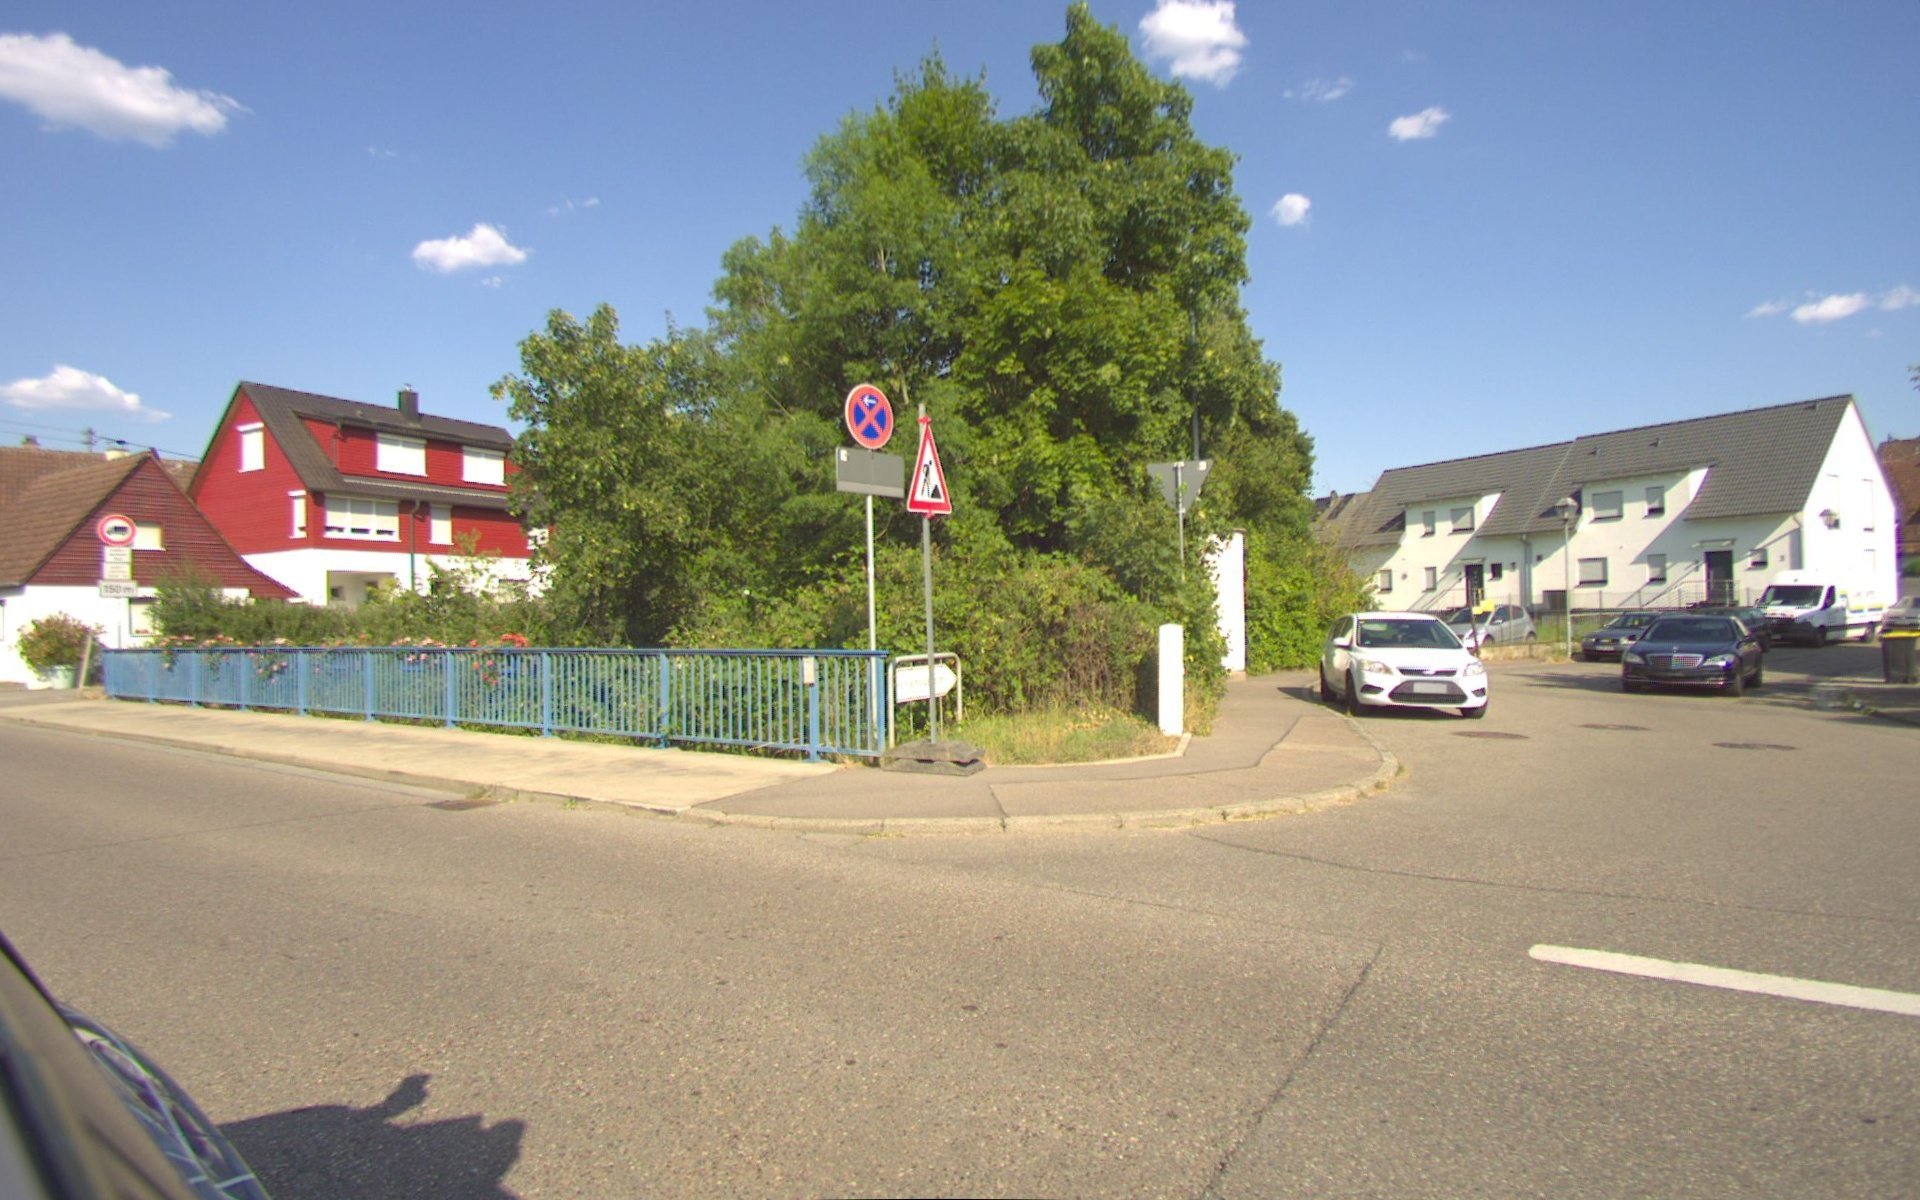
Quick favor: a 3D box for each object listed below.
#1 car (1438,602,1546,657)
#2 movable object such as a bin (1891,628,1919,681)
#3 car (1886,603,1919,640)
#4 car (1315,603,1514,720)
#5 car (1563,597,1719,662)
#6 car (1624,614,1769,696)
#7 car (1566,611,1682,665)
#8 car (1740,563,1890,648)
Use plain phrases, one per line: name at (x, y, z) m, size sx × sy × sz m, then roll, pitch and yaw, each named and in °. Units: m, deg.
car at (17.302, 0.939, 32.865) m, size 3.980 × 1.672 × 1.774 m, roll 1°, pitch -1°, yaw -41°
movable object such as a bin at (19.971, 1.132, 21.142) m, size 0.702 × 1.098 × 0.677 m, roll -2°, pitch -2°, yaw 41°
car at (37.625, 0.812, 39.096) m, size 3.524 × 1.386 × 1.587 m, roll 0°, pitch -1°, yaw -28°
car at (6.646, 0.836, 15.304) m, size 1.843 × 1.503 × 4.258 m, roll -1°, pitch -1°, yaw 12°
car at (19.561, 0.799, 29.028) m, size 4.512 × 1.701 × 2.123 m, roll 0°, pitch -1°, yaw -34°
car at (14.856, 1.011, 20.304) m, size 1.771 × 1.442 × 4.776 m, roll -1°, pitch -1°, yaw 43°
car at (19.124, 1.038, 29.096) m, size 3.980 × 1.442 × 1.774 m, roll 1°, pitch -1°, yaw -41°
car at (29.198, 0.199, 34.518) m, size 5.517 × 2.698 × 2.121 m, roll 0°, pitch -1°, yaw -30°
